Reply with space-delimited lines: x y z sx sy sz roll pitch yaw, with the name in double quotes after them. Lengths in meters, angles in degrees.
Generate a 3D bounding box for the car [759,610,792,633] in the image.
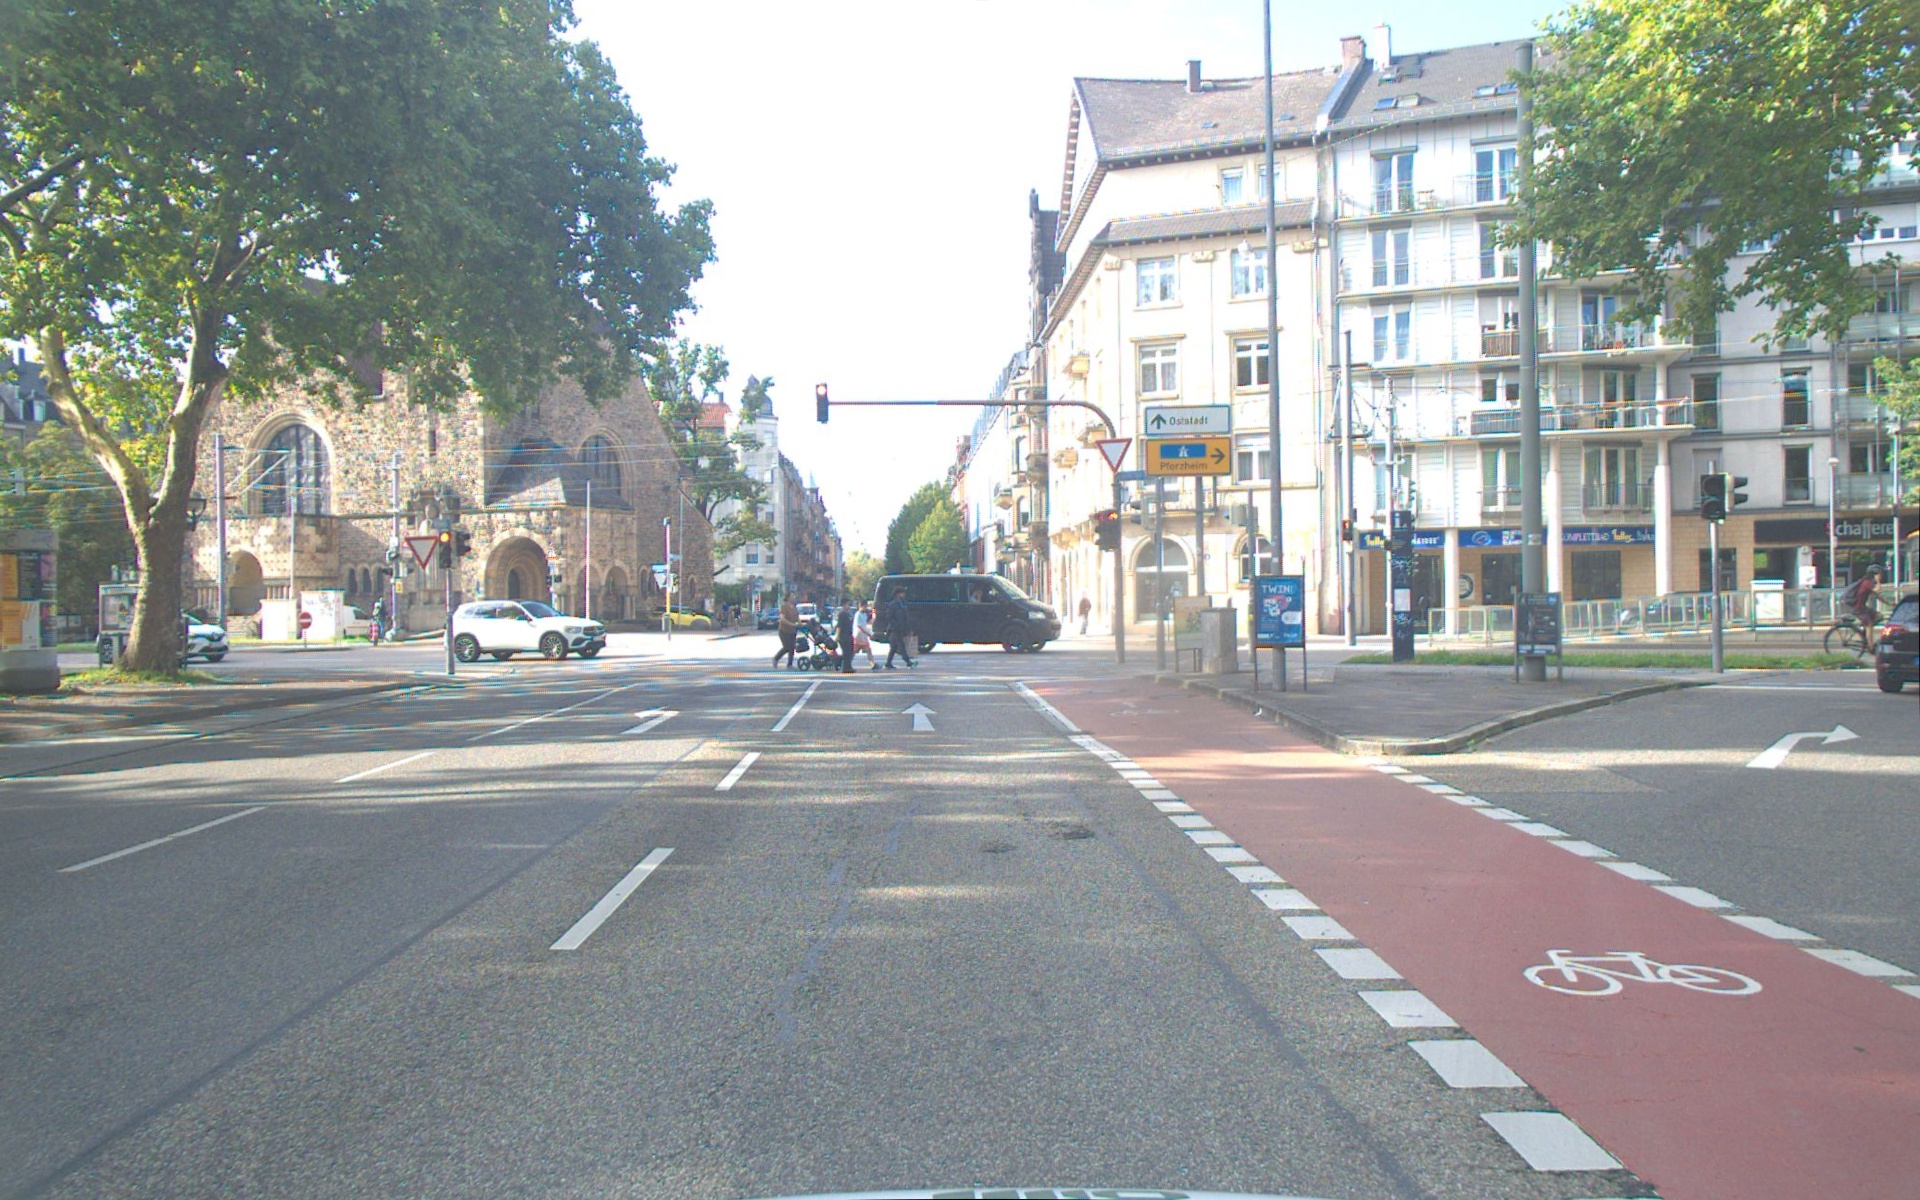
-12.725 1.453 114.439 1.953 1.523 3.998 -1 0 -2 "car"

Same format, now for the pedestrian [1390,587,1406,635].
16.134 0.394 60.918 0.485 1.744 0.527 1 -1 22 "pedestrian"

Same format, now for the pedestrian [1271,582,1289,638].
12.193 0.382 63.066 0.515 2.130 0.497 1 -1 24 "pedestrian"

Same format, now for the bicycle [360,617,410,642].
-23.833 1.215 68.566 0.626 0.997 1.916 -1 0 38 "bicycle"

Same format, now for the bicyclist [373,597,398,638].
-23.796 0.716 68.516 0.712 1.691 0.716 -1 0 40 "bicyclist"

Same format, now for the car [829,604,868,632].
-5.874 0.942 87.598 1.910 1.396 3.998 -1 0 -2 "car"

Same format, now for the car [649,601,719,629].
-17.170 0.922 102.889 3.965 1.624 1.841 -1 0 -41 "car"

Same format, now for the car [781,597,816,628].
-9.846 0.749 101.011 1.910 1.780 3.998 -1 0 -2 "car"

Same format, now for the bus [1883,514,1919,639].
33.251 -0.768 46.887 12.010 3.610 3.029 -1 0 21 "bus"

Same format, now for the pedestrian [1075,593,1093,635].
4.977 0.569 66.372 0.550 1.652 0.600 -1 0 19 "pedestrian"

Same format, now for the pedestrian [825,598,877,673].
-2.141 0.689 32.530 0.765 1.457 0.731 -1 0 21 "pedestrian"

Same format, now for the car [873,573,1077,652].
0.388 0.319 41.773 4.741 1.903 2.032 -1 0 18 "car"

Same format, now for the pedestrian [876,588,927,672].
-1.190 0.599 33.613 0.765 1.691 0.779 -1 0 21 "pedestrian"

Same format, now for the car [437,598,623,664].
-11.885 0.856 45.817 4.607 1.712 2.018 -1 0 18 "car"

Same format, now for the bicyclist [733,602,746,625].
-13.762 0.849 103.203 0.669 1.391 0.779 -1 0 -2 "bicyclist"

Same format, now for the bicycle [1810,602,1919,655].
17.144 0.544 31.334 1.793 0.972 0.573 -1 0 24 "bicycle"

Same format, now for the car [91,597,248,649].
-24.127 0.699 50.522 4.158 1.505 1.899 -1 0 18 "car"

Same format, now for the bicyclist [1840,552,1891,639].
17.138 -0.085 31.329 0.763 1.607 0.625 -1 0 23 "bicyclist"

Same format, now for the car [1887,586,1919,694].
14.526 0.531 23.352 1.726 1.438 3.976 0 0 42 "car"

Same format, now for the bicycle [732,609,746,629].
-13.759 1.207 103.173 0.677 1.202 1.918 -1 0 -2 "bicycle"

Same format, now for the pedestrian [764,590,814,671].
-3.505 0.622 33.946 0.798 1.657 0.605 -1 0 22 "pedestrian"

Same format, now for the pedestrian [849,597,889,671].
-1.822 0.682 33.074 0.641 1.457 0.498 -1 0 21 "pedestrian"

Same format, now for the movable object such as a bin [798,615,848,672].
-2.790 0.882 33.701 0.820 1.143 0.575 -1 0 21 "movable object such as a bin"
